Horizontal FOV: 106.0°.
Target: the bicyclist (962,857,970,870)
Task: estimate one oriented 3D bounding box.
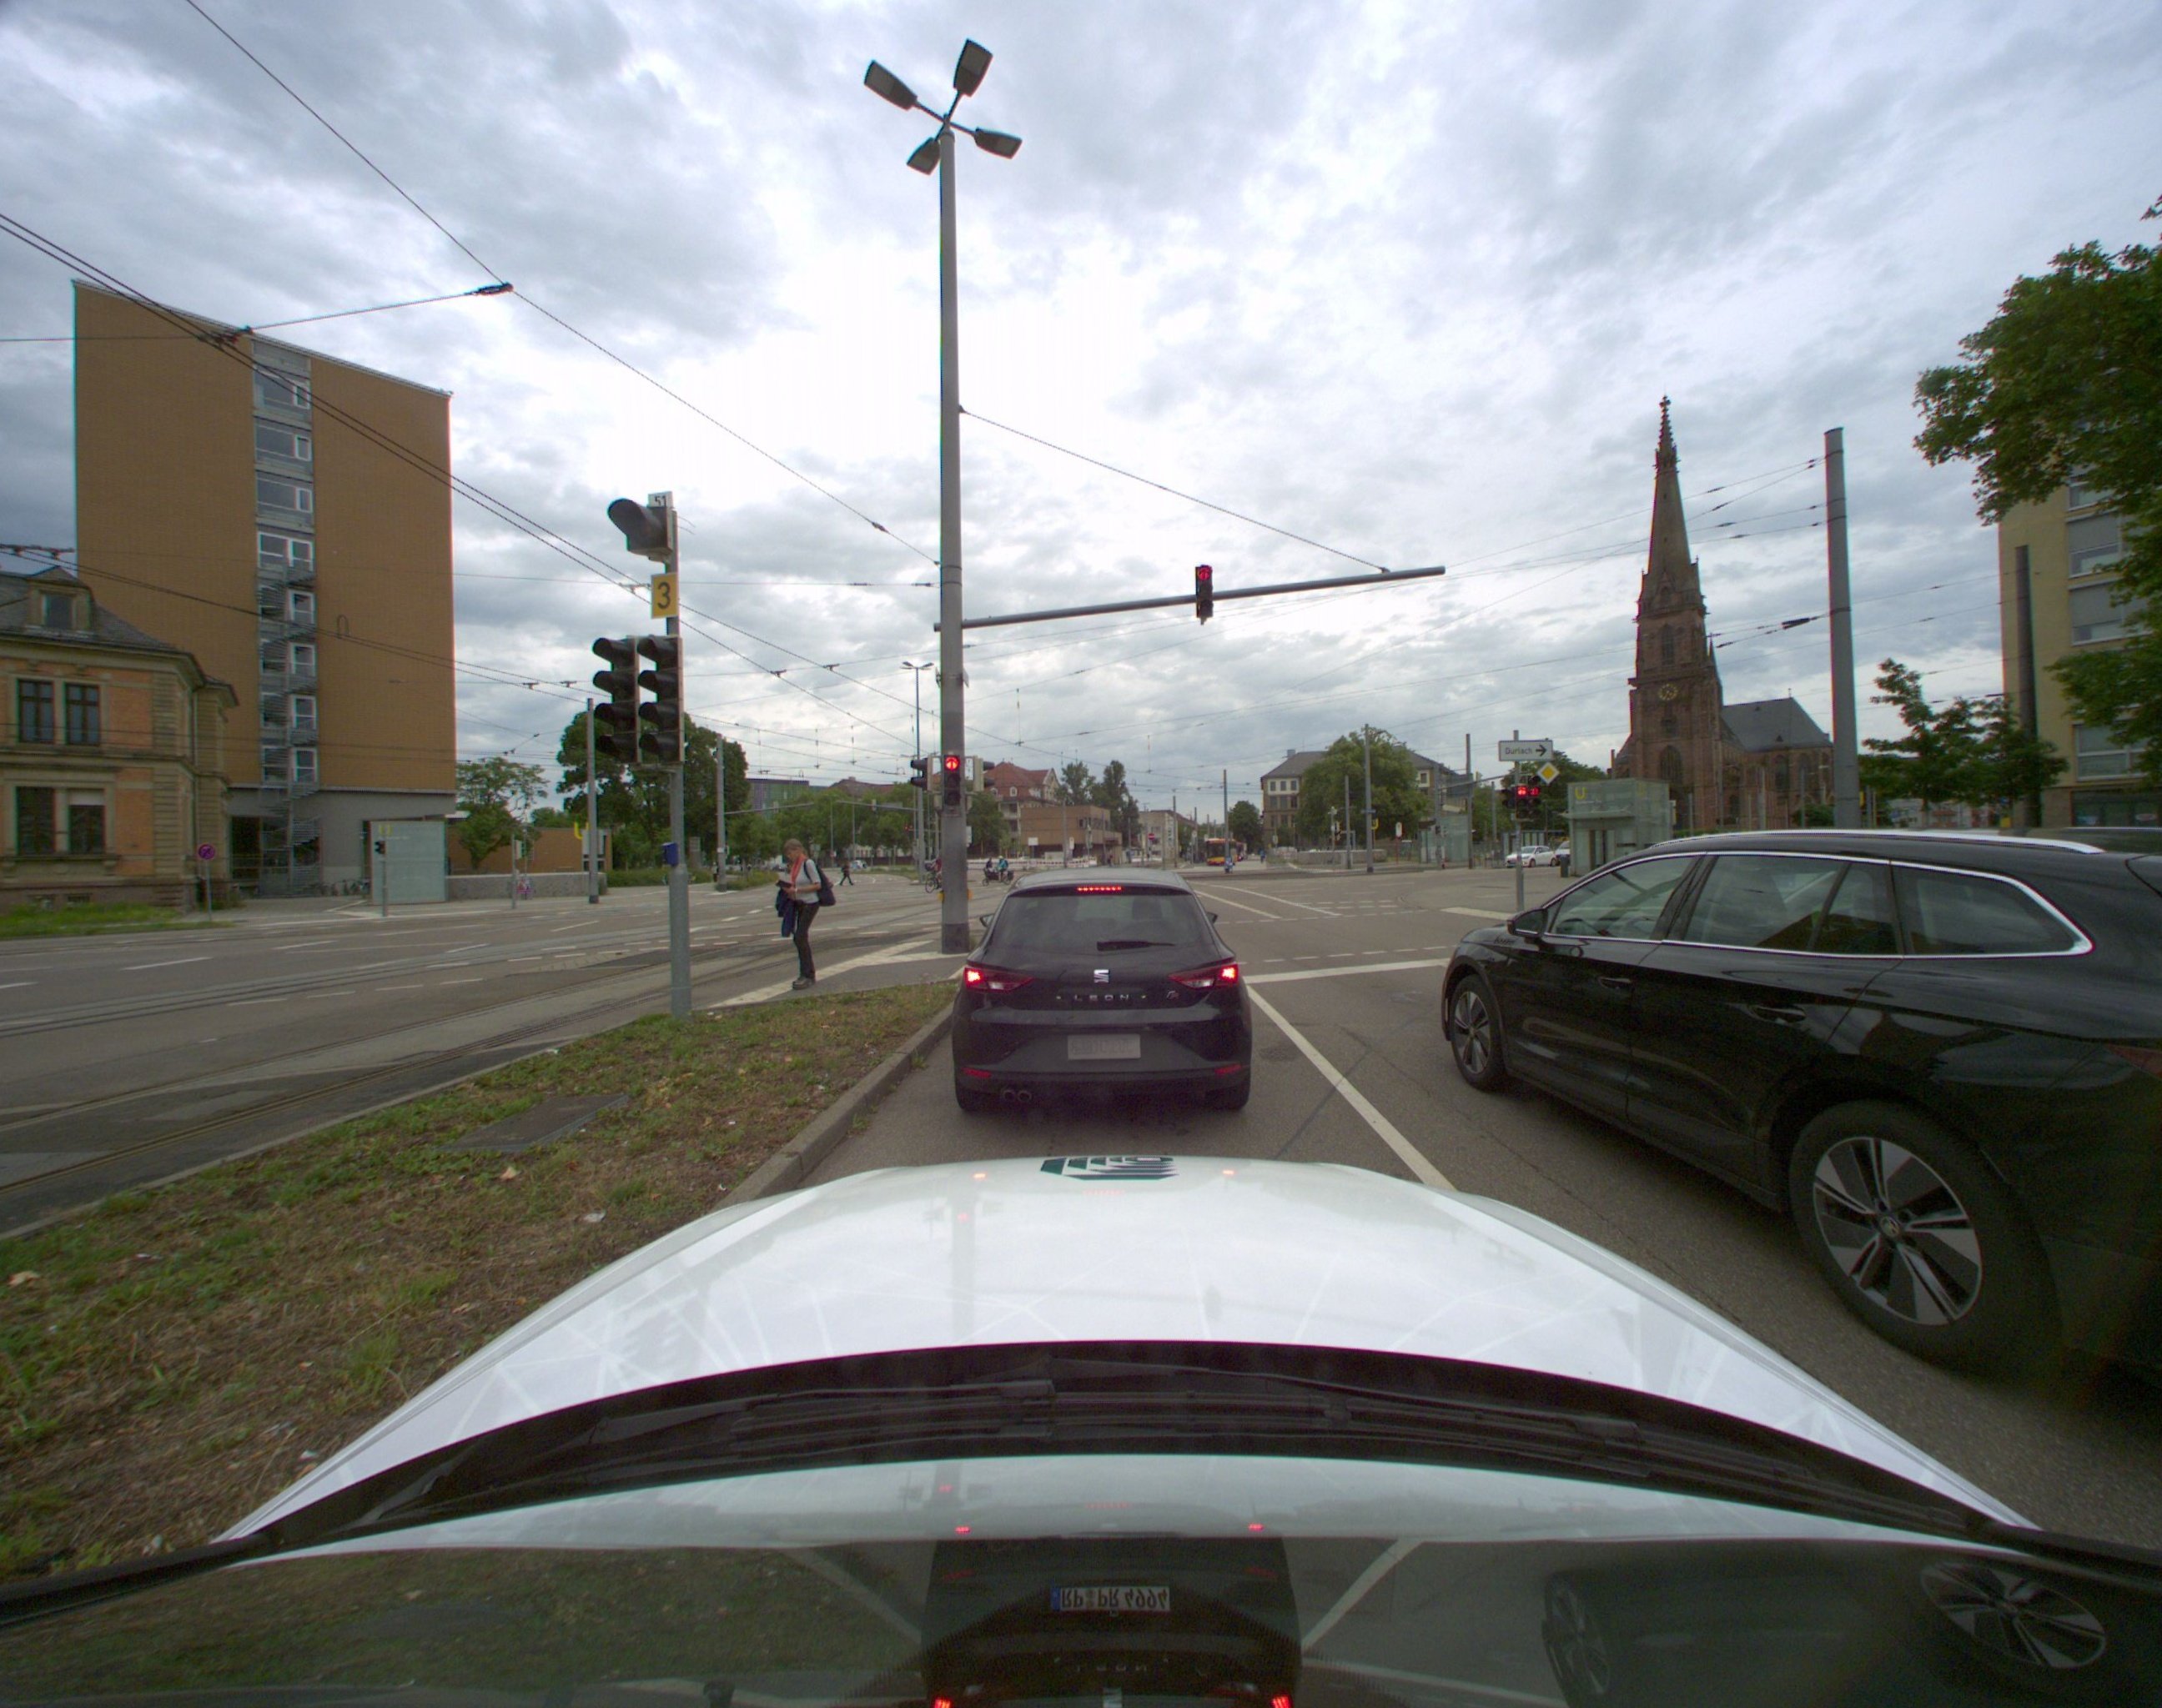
[{"bbox_3d":[-15.014,1.235,106.088,0.886,1.732,0.888,-1,0,-20],"label":"bicyclist"}]

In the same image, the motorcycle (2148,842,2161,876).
[{"bbox_3d":[31.735,0.136,23.618,1.020,0.997,0.863,-1,0,-42],"label":"motorcycle"}]

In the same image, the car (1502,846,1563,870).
[{"bbox_3d":[30.387,0.277,54.811,4.011,1.464,1.758,-1,-2,-30],"label":"car"}]

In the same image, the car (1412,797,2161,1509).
[{"bbox_3d":[3.322,0.654,3.775,1.771,1.597,4.510,-1,0,1],"label":"car"}]

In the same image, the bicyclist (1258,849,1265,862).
[{"bbox_3d":[24.874,0.200,111.964,0.865,1.851,1.052,-2,0,14],"label":"bicyclist"}]

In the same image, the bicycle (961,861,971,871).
[{"bbox_3d":[-14.925,1.558,105.880,0.895,1.178,2.287,-1,0,-20],"label":"bicycle"}]

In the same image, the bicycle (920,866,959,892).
[{"bbox_3d":[-7.024,1.224,40.455,0.767,1.184,2.045,-2,0,30],"label":"bicycle"}]

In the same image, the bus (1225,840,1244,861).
[{"bbox_3d":[25.726,-0.580,136.289,2.635,3.283,11.034,-2,0,13],"label":"bus"}]

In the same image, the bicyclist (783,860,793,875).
[{"bbox_3d":[-41.057,1.849,114.140,0.933,2.013,0.980,-2,0,5],"label":"bicyclist"}]

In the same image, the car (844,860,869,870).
[{"bbox_3d":[-39.719,1.954,144.115,3.950,1.772,1.726,-2,0,27],"label":"car"}]

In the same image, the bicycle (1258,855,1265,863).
[{"bbox_3d":[24.821,0.686,111.686,0.859,1.104,2.310,-1,0,14],"label":"bicycle"}]

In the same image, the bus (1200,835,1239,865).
[{"bbox_3d":[15.961,-0.422,93.278,2.938,3.123,11.589,-2,0,16],"label":"bus"}]

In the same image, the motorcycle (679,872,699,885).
[{"bbox_3d":[-34.422,2.165,71.508,0.506,1.111,1.751,-2,0,15],"label":"motorcycle"}]

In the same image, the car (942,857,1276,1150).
[{"bbox_3d":[0.089,0.774,6.112,1.700,1.449,3.809,-1,0,-2],"label":"car"}]

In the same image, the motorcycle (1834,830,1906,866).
[{"bbox_3d":[26.949,-0.204,27.817,2.386,1.168,0.762,-1,0,-19],"label":"motorcycle"}]

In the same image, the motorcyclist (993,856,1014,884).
[{"bbox_3d":[-4.644,0.950,48.759,0.984,1.649,0.742,-1,-1,-31],"label":"motorcyclist"}]

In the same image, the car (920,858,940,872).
[{"bbox_3d":[-19.574,1.383,105.426,2.000,1.684,3.973,-1,-1,-20],"label":"car"}]

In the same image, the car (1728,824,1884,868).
[{"bbox_3d":[37.656,-0.384,42.523,5.672,2.014,2.038,-2,-2,19],"label":"car"}]

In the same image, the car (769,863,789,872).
[{"bbox_3d":[-53.719,2.395,144.926,1.792,1.464,3.950,-1,0,-45],"label":"car"}]

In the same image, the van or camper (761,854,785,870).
[{"bbox_3d":[-62.833,1.729,165.995,5.434,3.124,2.410,-2,0,43],"label":"van or camper"}]

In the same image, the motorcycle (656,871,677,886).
[{"bbox_3d":[-35.450,2.080,69.603,1.481,1.268,0.505,-1,0,-44],"label":"motorcycle"}]

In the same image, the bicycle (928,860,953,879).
[{"bbox_3d":[-10.125,1.109,58.655,1.735,1.321,0.641,-1,0,-18],"label":"bicycle"}]

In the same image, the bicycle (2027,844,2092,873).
[{"bbox_3d":[31.505,0.148,26.236,0.596,0.917,1.253,-1,0,-28],"label":"bicycle"}]

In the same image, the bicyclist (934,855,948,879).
[{"bbox_3d":[-10.085,0.934,58.669,0.856,1.673,0.650,-1,0,-17],"label":"bicyclist"}]

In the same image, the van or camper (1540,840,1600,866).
[{"bbox_3d":[35.270,-0.079,58.685,4.321,1.742,1.979,-1,-2,-34],"label":"van or camper"}]

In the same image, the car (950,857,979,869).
[{"bbox_3d":[-17.633,1.365,123.663,3.970,1.684,2.001,-2,-1,3],"label":"car"}]

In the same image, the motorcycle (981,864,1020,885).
[{"bbox_3d":[-4.804,1.202,48.636,2.149,1.139,0.737,-1,0,-31],"label":"motorcycle"}]

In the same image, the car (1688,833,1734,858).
[{"bbox_3d":[53.566,-0.713,69.197,4.017,2.013,1.978,-1,0,-36],"label":"car"}]

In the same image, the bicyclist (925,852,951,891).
[{"bbox_3d":[-7.079,0.885,40.390,0.768,1.898,1.003,-2,0,30],"label":"bicyclist"}]

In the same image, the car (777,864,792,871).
[{"bbox_3d":[-62.235,2.797,171.025,1.790,1.464,3.954,-1,0,-39],"label":"car"}]

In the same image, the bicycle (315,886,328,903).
[{"bbox_3d":[-51.644,2.768,55.364,0.575,1.106,1.411,-1,0,-41],"label":"bicycle"}]
